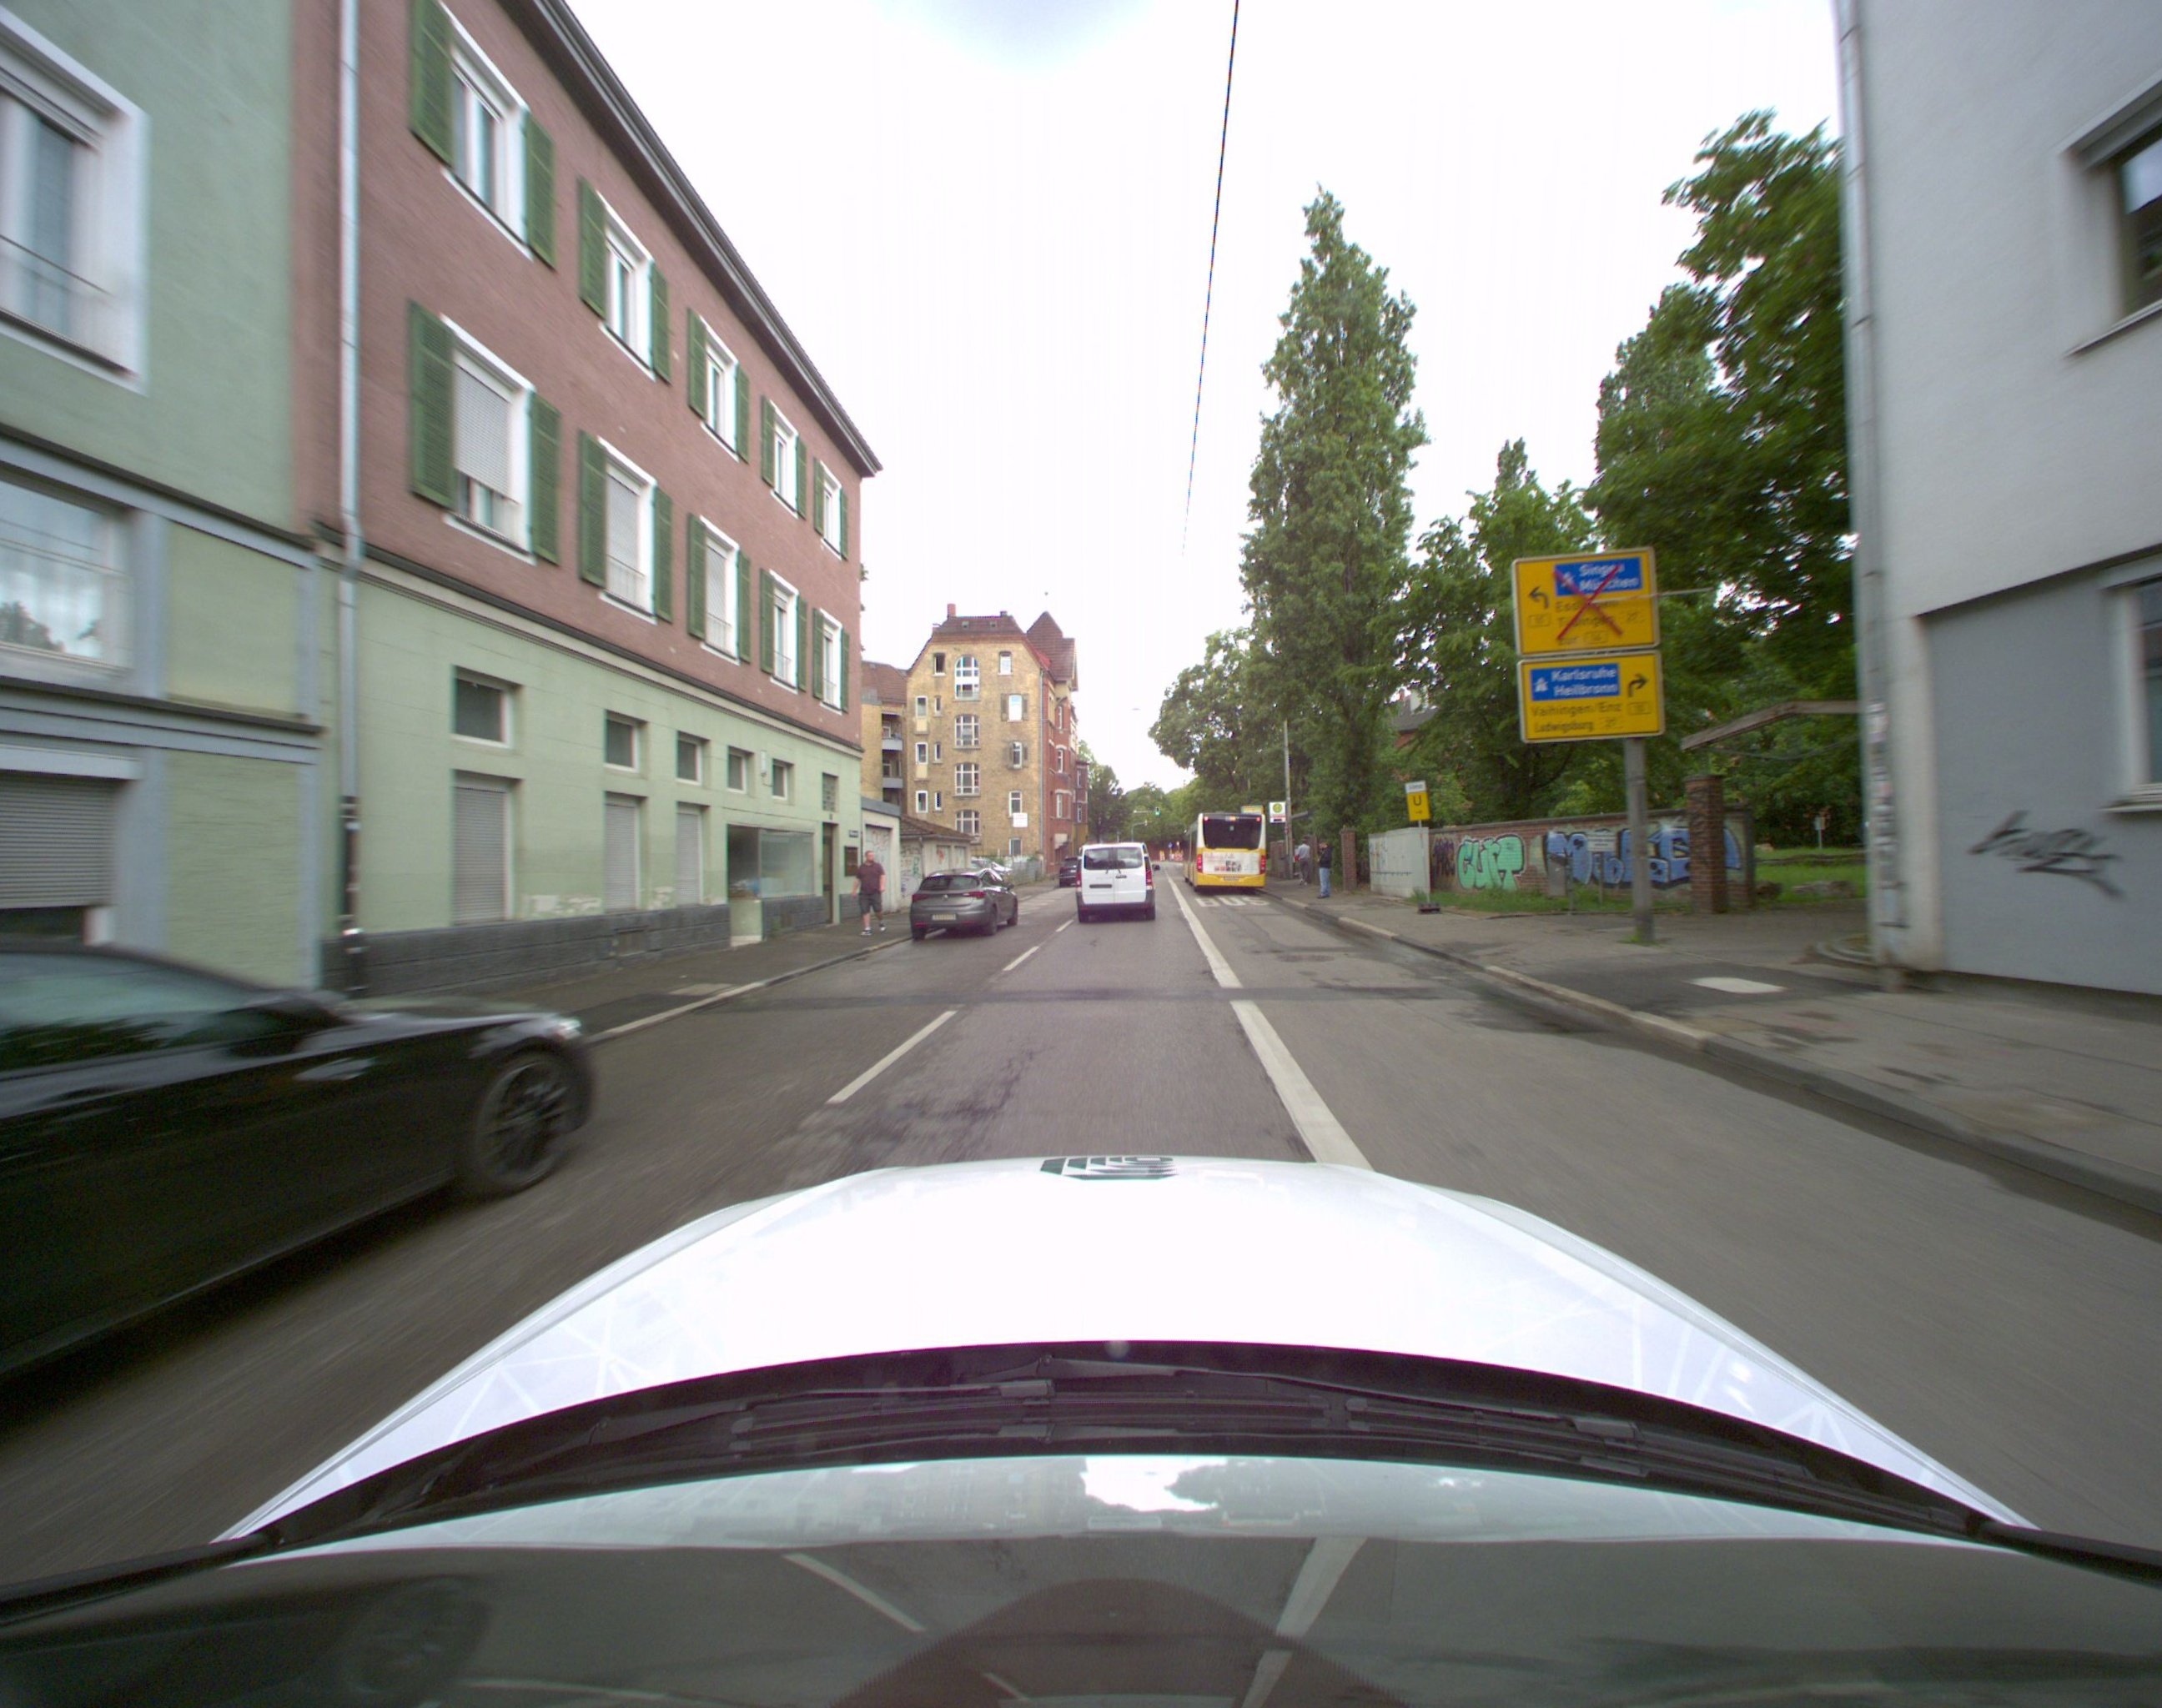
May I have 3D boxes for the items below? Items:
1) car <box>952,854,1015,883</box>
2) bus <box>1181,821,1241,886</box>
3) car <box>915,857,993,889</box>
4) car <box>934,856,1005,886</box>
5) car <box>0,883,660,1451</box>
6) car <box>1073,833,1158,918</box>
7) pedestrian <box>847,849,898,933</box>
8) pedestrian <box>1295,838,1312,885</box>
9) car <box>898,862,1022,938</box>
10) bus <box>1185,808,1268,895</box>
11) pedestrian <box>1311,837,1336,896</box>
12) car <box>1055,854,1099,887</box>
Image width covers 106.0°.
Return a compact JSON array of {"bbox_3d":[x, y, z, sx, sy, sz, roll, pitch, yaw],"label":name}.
[{"bbox_3d":[-6.112,0.903,51.343,3.578,1.612,1.691,-3,-1,5],"label":"car"},{"bbox_3d":[6.864,-0.010,44.161,2.658,3.138,9.232,1,0,6],"label":"bus"},{"bbox_3d":[-6.804,1.023,43.854,3.704,1.504,1.856,-3,-1,5],"label":"car"},{"bbox_3d":[-6.273,0.955,46.199,3.578,1.504,1.856,-3,-1,5],"label":"car"},{"bbox_3d":[-3.746,0.880,2.593,1.819,1.455,4.929,-1,-1,6],"label":"car"},{"bbox_3d":[0.917,0.585,21.083,1.909,1.902,4.704,1,-2,3],"label":"car"},{"bbox_3d":[-4.478,0.789,17.569,0.758,1.744,0.985,1,-2,3],"label":"pedestrian"},{"bbox_3d":[8.767,0.299,32.104,0.448,1.779,0.673,-4,-1,5],"label":"pedestrian"},{"bbox_3d":[-2.622,0.960,18.654,1.869,1.486,4.133,1,0,5],"label":"car"},{"bbox_3d":[5.916,-0.075,34.567,2.649,3.136,10.055,1,0,6],"label":"bus"},{"bbox_3d":[7.426,0.383,24.956,0.579,1.779,0.822,1,-1,5],"label":"pedestrian"},{"bbox_3d":[-0.158,0.874,45.826,1.944,1.734,4.781,-1,0,5],"label":"car"}]
